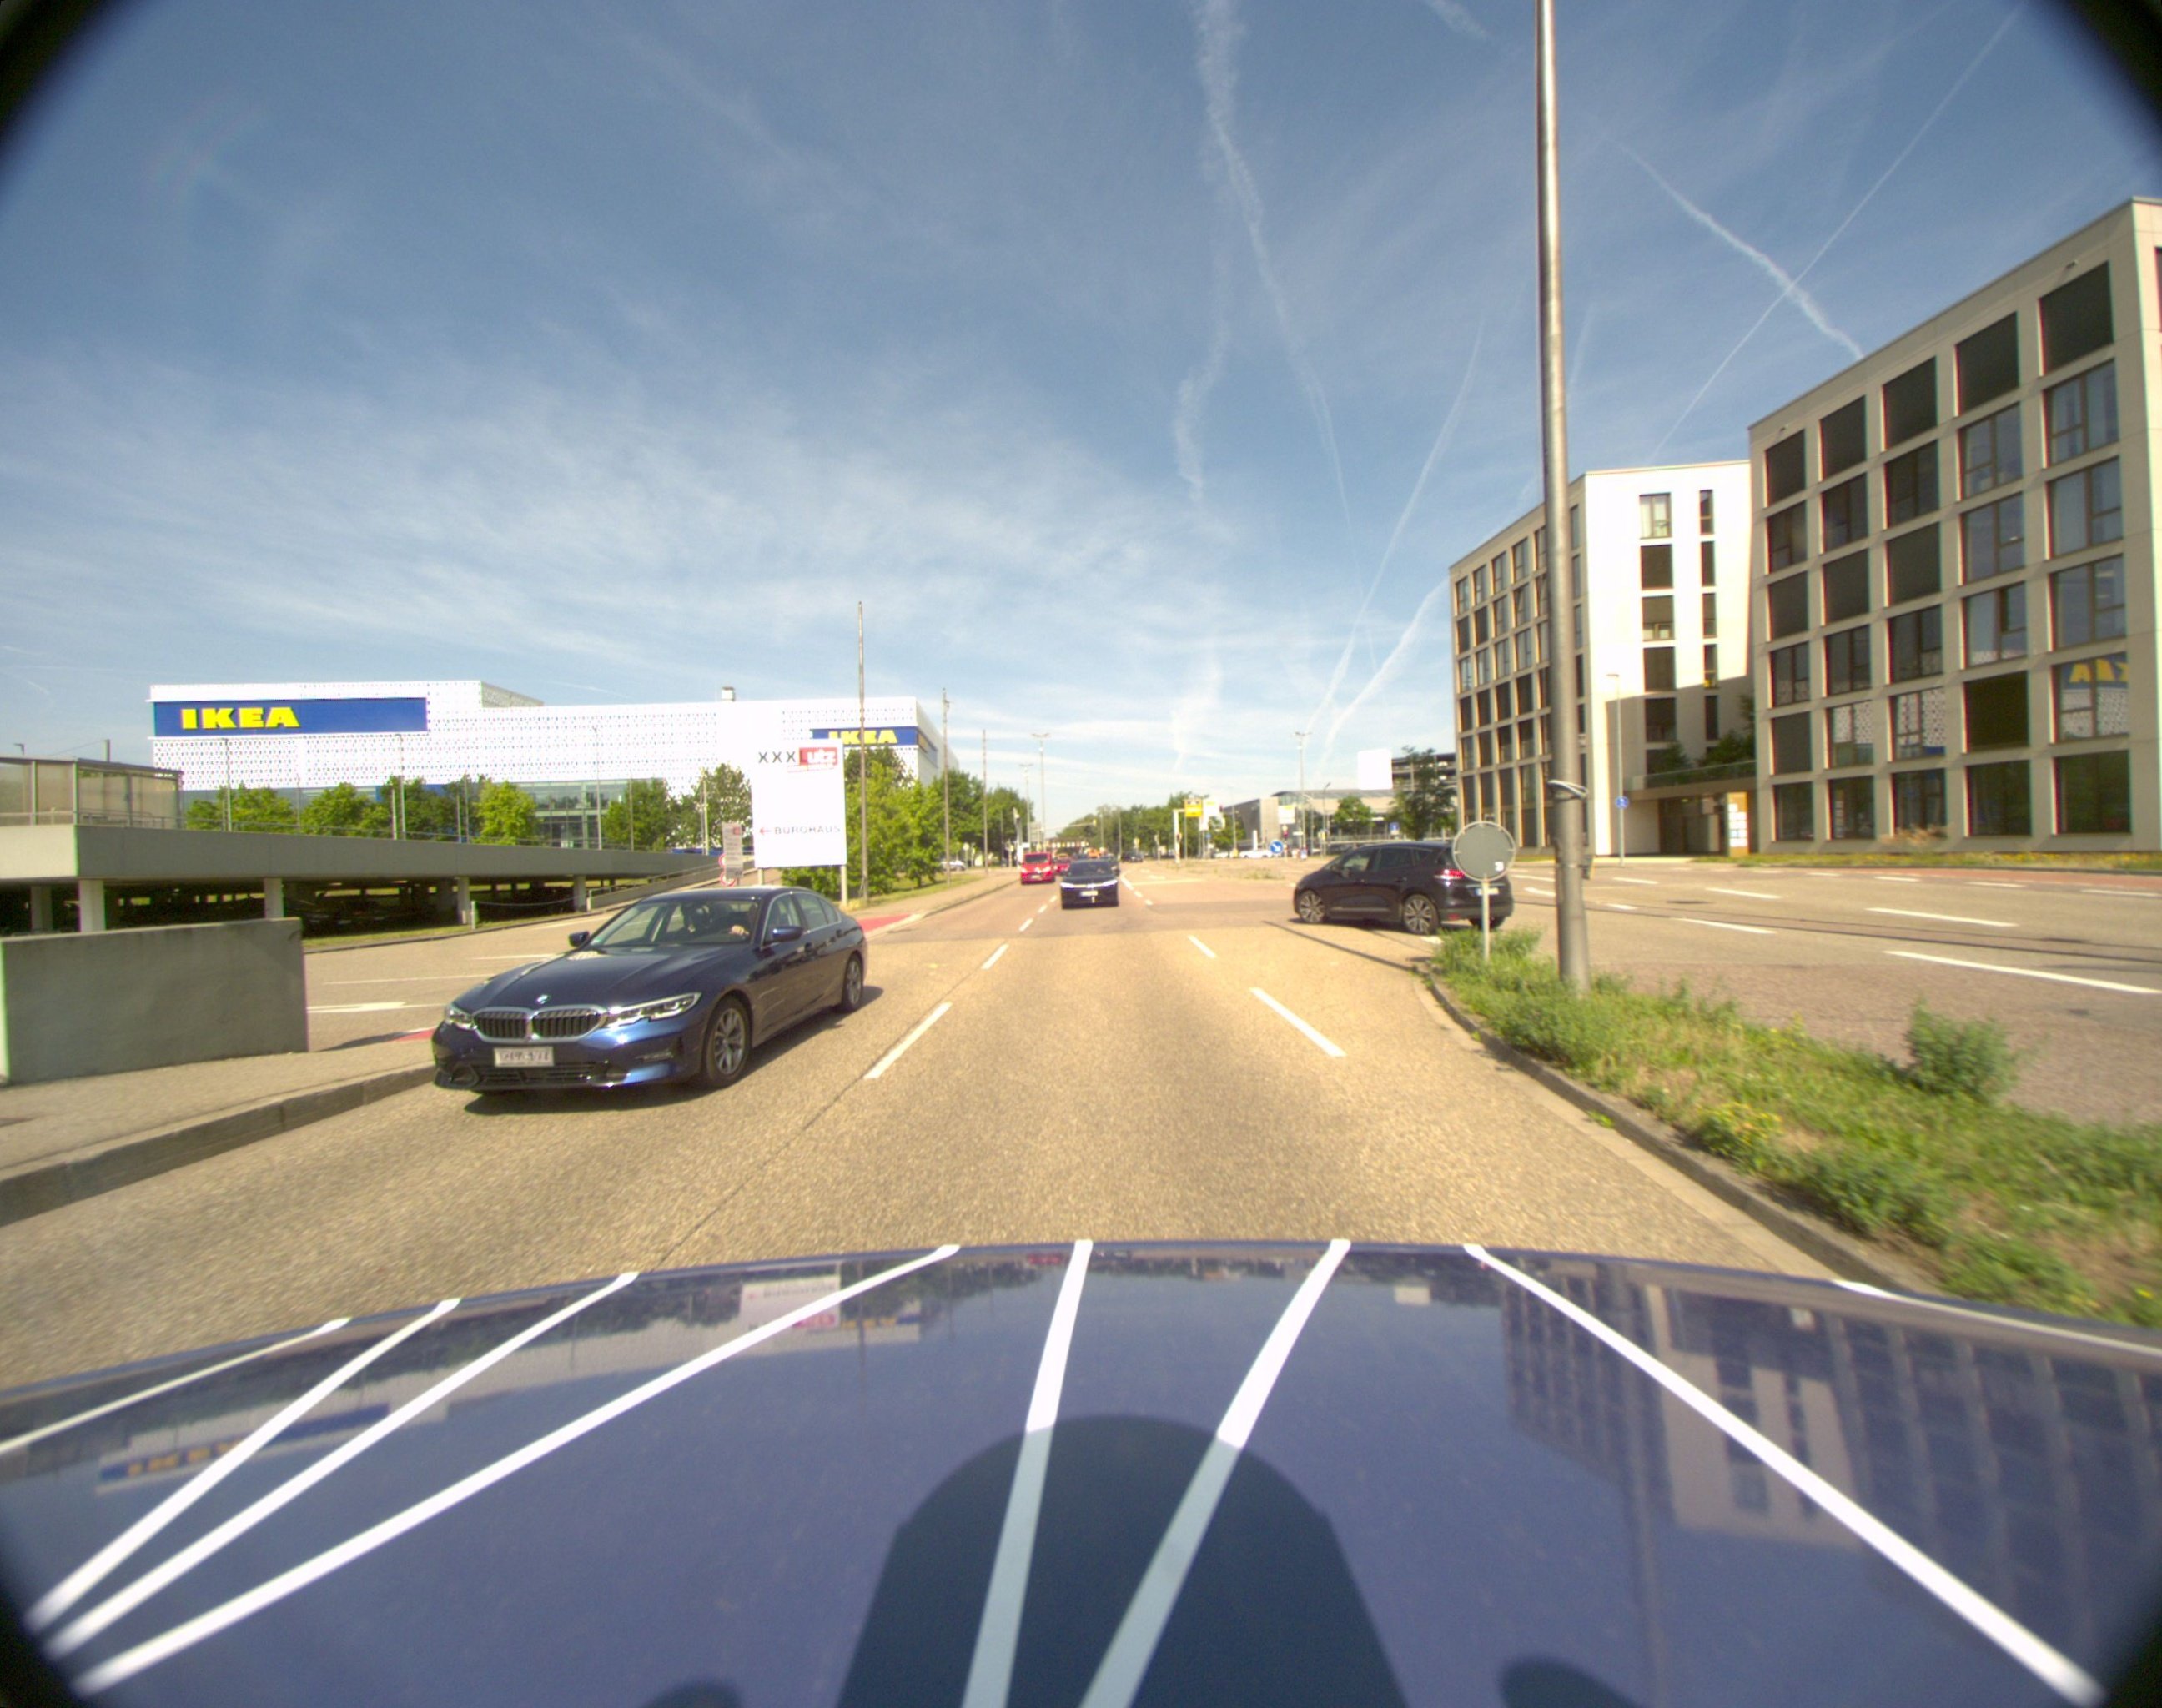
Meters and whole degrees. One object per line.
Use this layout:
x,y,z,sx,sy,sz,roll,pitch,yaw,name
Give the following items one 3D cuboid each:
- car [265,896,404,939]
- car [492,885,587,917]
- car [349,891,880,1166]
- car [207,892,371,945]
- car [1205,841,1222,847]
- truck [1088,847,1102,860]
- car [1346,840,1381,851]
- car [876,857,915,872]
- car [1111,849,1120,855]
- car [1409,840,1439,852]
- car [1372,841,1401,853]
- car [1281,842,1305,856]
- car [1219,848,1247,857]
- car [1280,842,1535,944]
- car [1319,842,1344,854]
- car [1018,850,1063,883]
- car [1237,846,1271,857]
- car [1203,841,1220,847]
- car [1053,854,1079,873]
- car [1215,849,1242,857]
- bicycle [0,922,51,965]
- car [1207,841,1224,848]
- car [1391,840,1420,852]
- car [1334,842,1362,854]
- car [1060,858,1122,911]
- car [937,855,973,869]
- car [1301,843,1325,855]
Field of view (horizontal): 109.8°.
-30.917,2.601,31.549,3.883,1.379,1.688,-4,0,-3,car
-31.882,2.739,44.863,4.124,1.514,1.799,-4,0,-8,car
-3.369,1.146,6.763,1.800,1.420,4.539,-2,-1,1,car
-30.178,2.424,29.051,4.163,1.617,1.751,-4,0,-3,car
35.646,-2.621,204.692,4.198,1.490,1.689,0,0,-3,car
3.794,-0.168,212.290,2.755,3.659,7.574,-2,0,-6,truck
35.637,-1.076,95.753,3.800,1.282,1.660,-2,1,5,car
-21.543,1.202,88.419,4.039,1.500,1.908,-1,1,-1,car
7.570,-0.456,167.646,1.786,1.452,4.333,-1,0,-2,car
48.554,-1.142,107.699,1.793,1.433,4.558,-2,-2,-4,car
43.108,-0.993,107.324,1.793,1.433,4.632,-2,-2,-4,car
29.638,-0.674,106.255,1.819,1.603,4.596,-2,-2,-3,car
24.120,-0.248,120.702,4.084,1.362,1.877,0,0,-4,car
5.995,0.653,14.537,1.924,1.597,4.263,-2,0,-25,car
35.131,-0.823,106.675,1.793,1.534,4.376,-2,-2,-4,car
-2.500,0.755,48.266,2.013,1.896,4.812,-2,0,6,car
25.124,-0.405,110.258,4.384,1.424,1.899,-2,0,-2,car
35.470,-2.668,207.019,4.198,1.490,1.689,0,0,-3,car
-1.229,0.752,64.196,1.691,1.414,3.917,-3,0,5,car
23.878,-0.139,123.319,3.998,1.311,1.868,0,0,-4,car
-29.090,2.445,20.397,0.513,1.053,1.708,-3,0,0,bicycle
35.825,-2.518,202.043,4.198,1.722,1.689,0,0,-3,car
45.847,-1.098,107.425,1.793,1.433,4.402,-2,-2,-4,car
37.644,-0.847,107.260,1.793,1.496,4.777,-2,-2,-4,car
0.350,0.953,25.474,1.847,1.530,4.000,-3,0,1,car
-14.594,0.914,88.131,3.894,1.549,1.808,-2,1,1,car
32.344,-0.668,106.111,1.793,1.433,4.200,-2,-2,-5,car
